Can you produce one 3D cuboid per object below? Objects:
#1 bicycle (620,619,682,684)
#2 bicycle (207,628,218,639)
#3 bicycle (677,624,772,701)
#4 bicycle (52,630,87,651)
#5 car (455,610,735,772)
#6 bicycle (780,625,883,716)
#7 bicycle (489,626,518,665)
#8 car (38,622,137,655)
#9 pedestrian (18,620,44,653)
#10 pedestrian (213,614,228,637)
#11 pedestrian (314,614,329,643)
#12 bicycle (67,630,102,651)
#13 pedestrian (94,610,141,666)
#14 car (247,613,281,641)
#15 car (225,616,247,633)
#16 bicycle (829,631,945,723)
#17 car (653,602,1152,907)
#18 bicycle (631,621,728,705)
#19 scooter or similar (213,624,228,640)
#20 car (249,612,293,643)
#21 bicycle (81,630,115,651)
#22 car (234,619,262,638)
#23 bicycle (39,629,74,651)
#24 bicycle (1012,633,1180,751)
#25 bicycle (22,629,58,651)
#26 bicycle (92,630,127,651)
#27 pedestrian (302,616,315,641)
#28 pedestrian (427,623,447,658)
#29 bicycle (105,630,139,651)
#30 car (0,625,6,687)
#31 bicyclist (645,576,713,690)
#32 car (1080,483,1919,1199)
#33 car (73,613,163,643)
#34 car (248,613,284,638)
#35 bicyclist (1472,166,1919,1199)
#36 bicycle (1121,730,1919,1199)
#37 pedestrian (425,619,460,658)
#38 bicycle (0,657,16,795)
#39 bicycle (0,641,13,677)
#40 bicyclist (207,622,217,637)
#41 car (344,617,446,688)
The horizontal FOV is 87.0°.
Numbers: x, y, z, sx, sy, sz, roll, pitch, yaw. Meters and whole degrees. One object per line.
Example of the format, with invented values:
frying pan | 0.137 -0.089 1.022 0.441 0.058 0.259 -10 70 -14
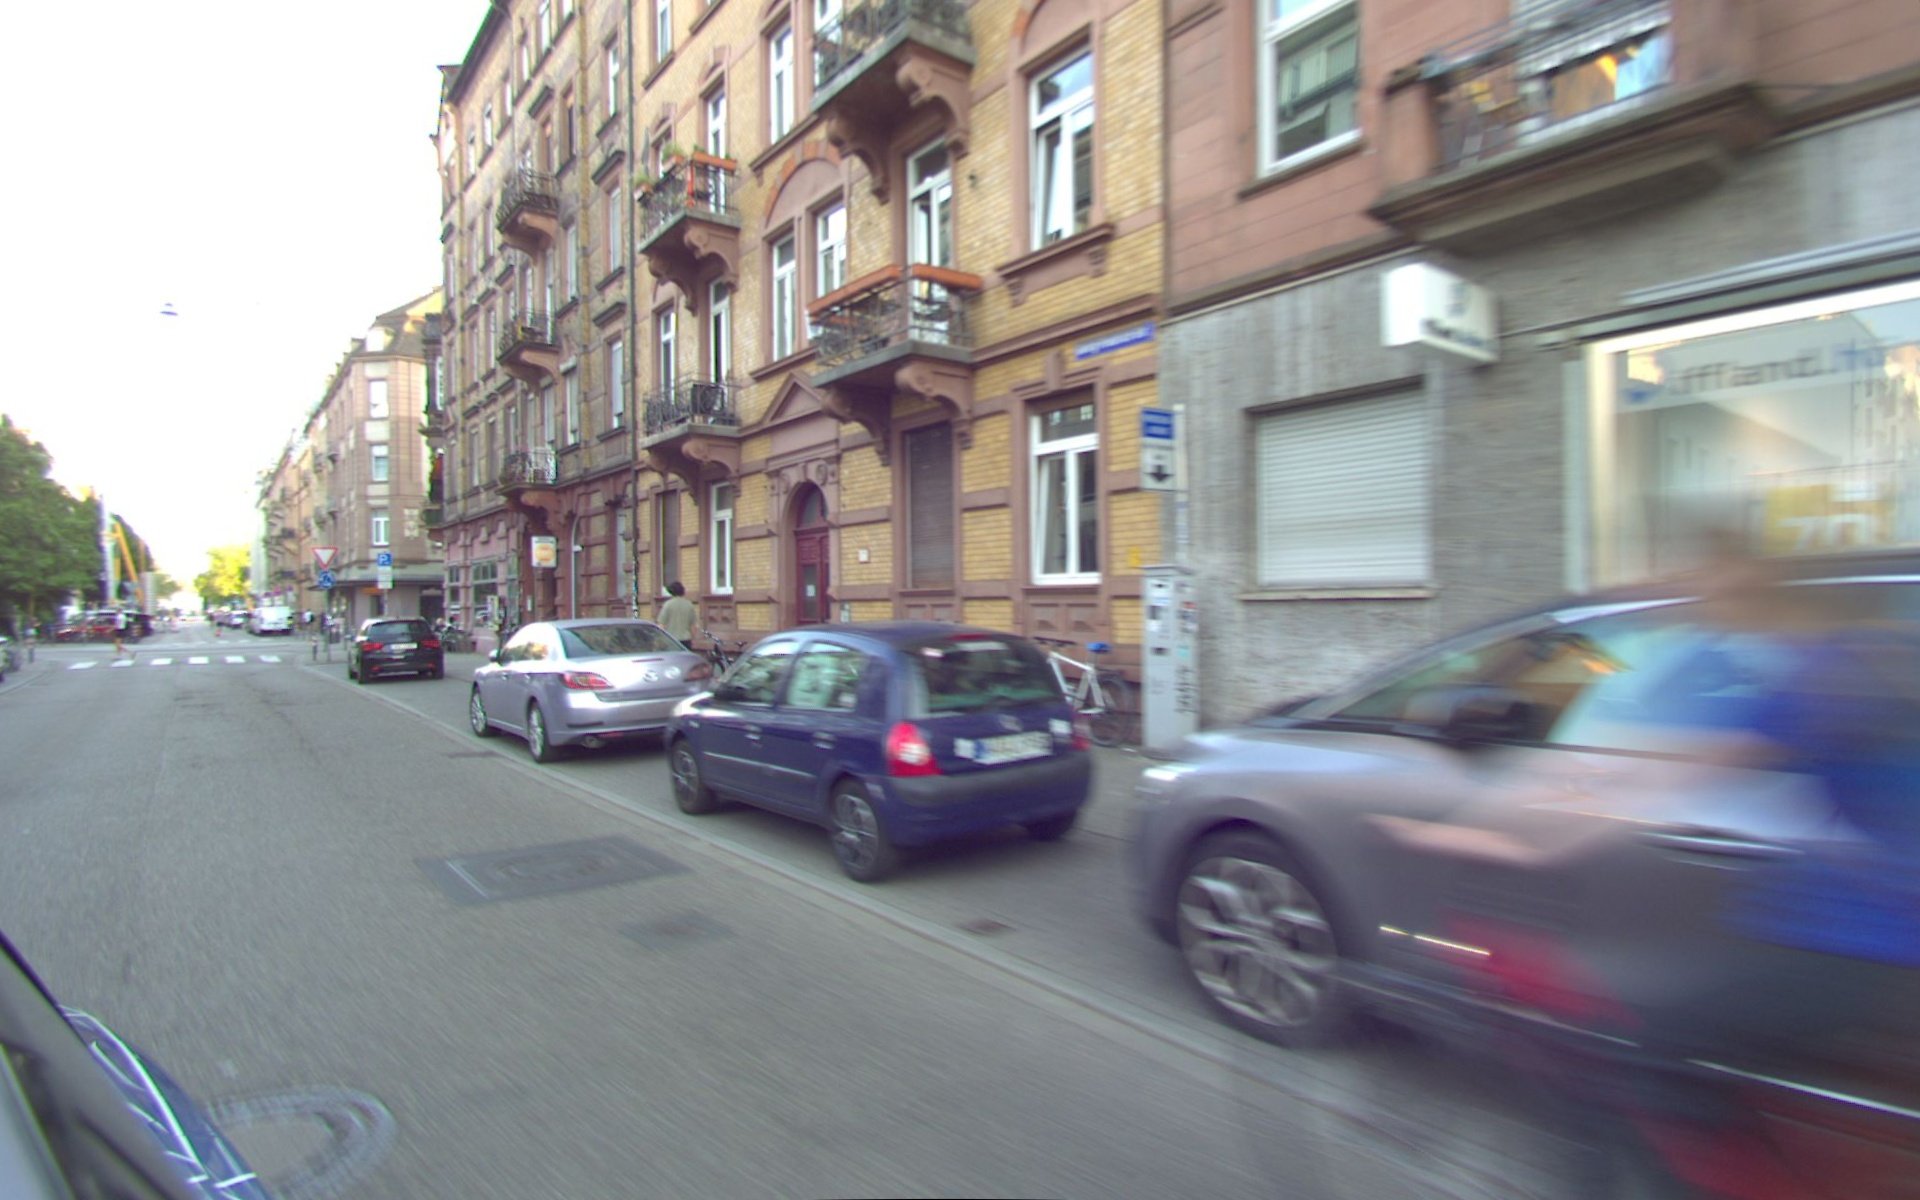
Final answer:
bicycle | -6.124 0.989 19.980 0.520 1.180 2.053 -3 1 -34
bicycle | -79.749 3.613 107.936 0.743 1.139 1.978 -1 -1 -43
bicycle | -3.804 0.982 16.301 0.729 1.132 1.612 -2 0 -44
bicycle | -49.098 2.232 55.806 2.104 1.140 0.660 0 -2 25
car | -4.393 0.874 11.683 1.700 1.431 4.591 -2 1 -37
bicycle | -1.797 0.935 13.918 0.542 1.132 1.763 -4 1 -37
bicycle | -12.993 1.273 28.769 0.419 1.061 1.903 -1 0 -34
car | -50.743 2.226 58.931 1.815 1.680 3.972 -1 1 21
pedestrian | -46.414 1.812 50.569 0.530 1.619 0.870 -1 -2 -11
pedestrian | -54.398 1.870 74.459 0.797 1.672 0.673 1 -2 -43
pedestrian | -40.797 1.830 64.650 0.644 1.792 0.694 -2 -1 -19
bicycle | -48.852 2.268 56.448 2.104 1.140 0.660 0 -2 25
pedestrian | -28.511 1.294 34.255 1.031 1.825 0.758 -2 -2 -27
car | -51.169 1.959 74.389 1.850 1.918 4.336 -1 0 -37
car | -83.930 2.814 117.368 1.967 1.751 4.011 -1 1 -34
bicycle | -0.953 0.931 12.793 0.542 1.045 1.763 -4 1 -37
car | -0.643 0.792 6.852 1.564 1.431 3.704 -2 0 -37
bicycle | -4.454 0.961 16.012 1.743 1.205 0.700 0 1 45
scooter or similar | -54.393 2.357 74.448 0.797 1.112 1.173 0 -2 -43
car | -47.357 1.874 69.559 2.108 1.973 4.778 -2 0 -39
bicycle | -48.614 2.296 57.067 2.104 1.140 0.660 0 -2 25
car | -71.800 2.875 102.028 2.108 1.835 4.550 -1 0 -37
bicycle | -49.332 2.200 55.263 2.104 1.174 0.660 0 -2 25
bicycle | 1.312 0.869 10.160 0.443 1.030 1.852 -5 2 -37
bicycle | -49.659 2.166 54.616 2.104 1.174 0.660 0 -2 25
bicycle | -48.520 2.306 57.733 2.104 1.178 0.660 0 -2 25
pedestrian | -46.931 2.030 72.913 0.736 1.757 1.216 -2 0 -32
pedestrian | -18.098 1.384 35.024 0.497 1.152 0.793 -1 1 -36
bicycle | -48.001 2.316 57.974 2.104 1.178 0.660 0 -2 25
car | -23.559 1.339 23.658 1.572 1.512 3.429 2 -2 -40
bicyclist | -4.440 0.500 15.988 0.843 1.742 0.700 0 1 45
car | 2.568 0.566 2.744 1.829 1.646 4.455 -2 0 -37
car | -68.036 2.230 81.865 2.327 2.211 5.100 0 1 27
car | -54.507 1.987 79.482 2.108 1.835 4.550 -1 0 -37
bicyclist | 1.382 0.287 1.494 0.636 1.633 0.920 1 -2 -38
bicycle | 1.276 0.861 1.608 0.636 1.089 2.173 1 -2 -38
pedestrian | -17.488 1.296 34.186 0.907 1.264 0.642 -3 1 37
bicycle | -8.127 1.062 7.904 0.781 1.148 2.348 -2 0 -36
bicycle | -27.727 1.657 28.477 1.458 1.009 0.512 1 -1 -31
bicyclist | -79.767 3.138 107.941 0.743 1.653 1.202 -1 -1 -43
car | -13.053 1.155 23.282 1.671 1.431 3.864 -2 0 -35
